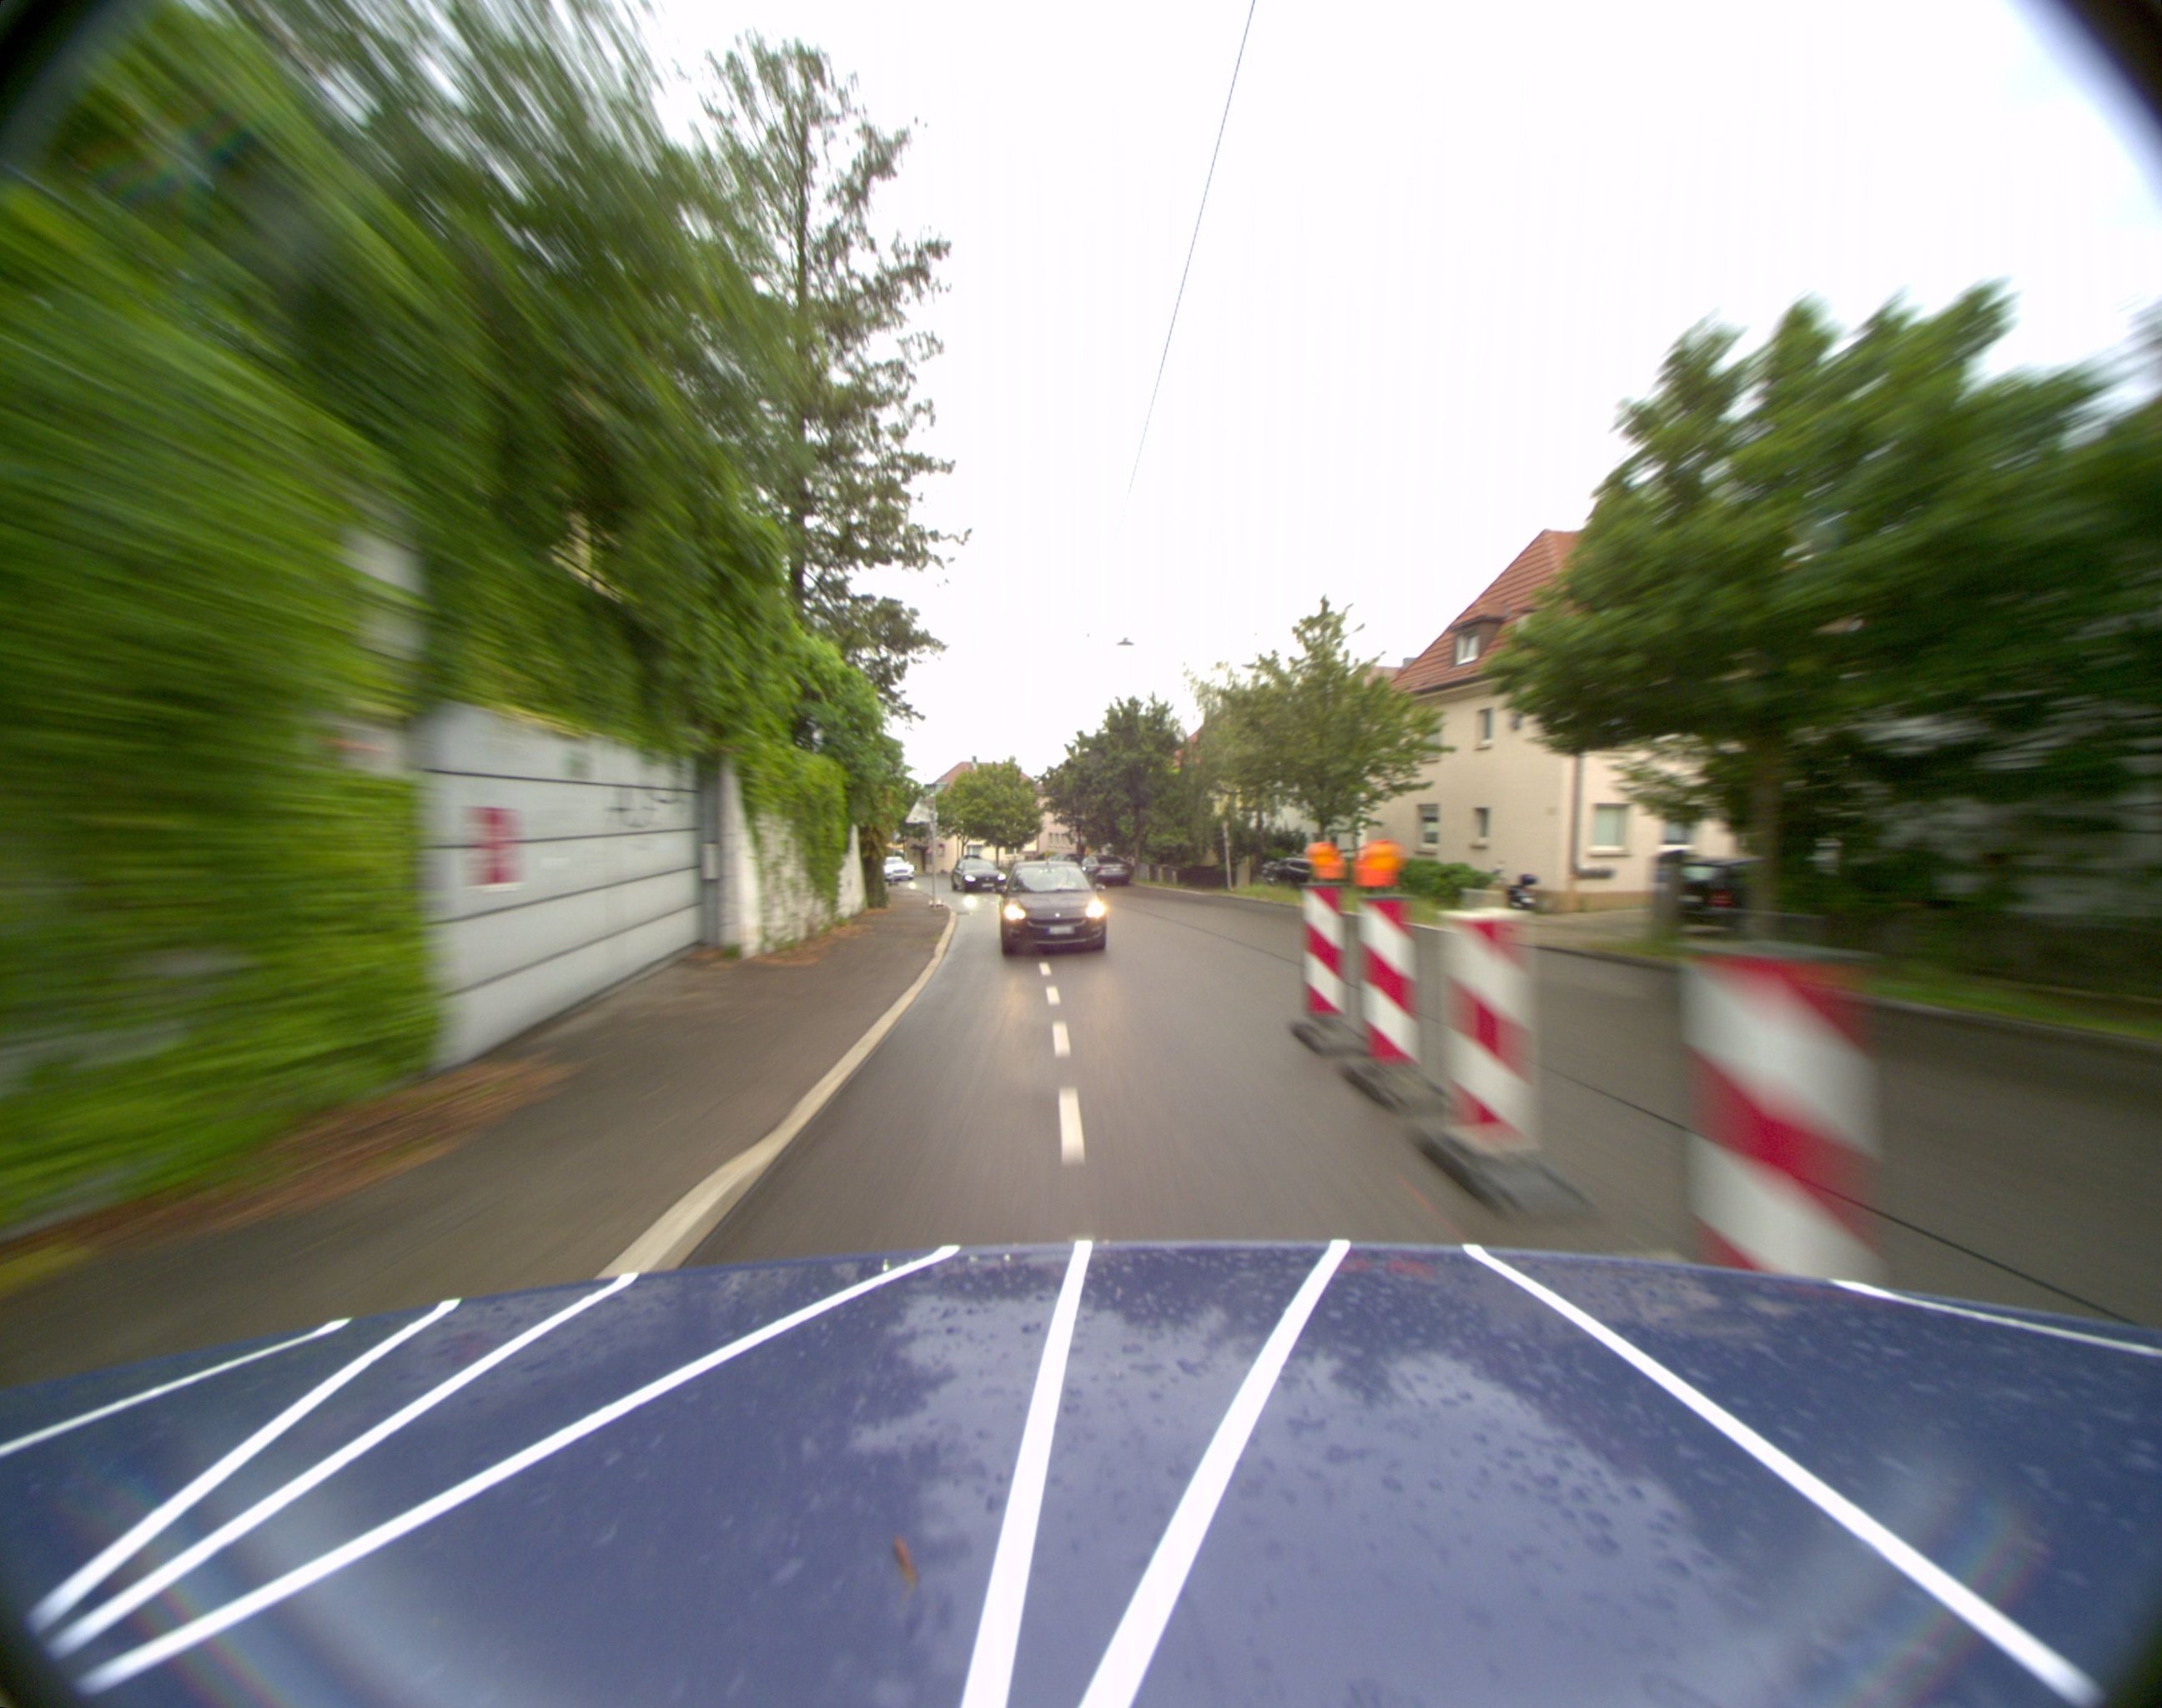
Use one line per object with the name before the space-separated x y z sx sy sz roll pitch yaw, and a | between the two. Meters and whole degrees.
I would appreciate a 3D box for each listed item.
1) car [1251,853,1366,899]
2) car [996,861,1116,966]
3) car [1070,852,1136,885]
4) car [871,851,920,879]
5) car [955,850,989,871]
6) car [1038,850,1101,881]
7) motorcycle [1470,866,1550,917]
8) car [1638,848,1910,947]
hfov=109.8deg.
car | 9.847 0.929 32.994 4.253 1.496 1.912 6 0 -8
car | -0.602 0.907 13.532 1.747 1.434 4.356 -2 0 -6
car | 0.961 0.629 35.873 1.713 1.375 4.522 -3 2 -17
car | -12.841 0.730 52.440 2.022 1.728 4.588 -2 1 -30
car | -8.143 0.502 56.800 1.525 1.526 3.029 -1 0 -30
car | -0.688 0.563 40.618 1.740 1.475 4.521 -3 2 -23
motorcycle | 11.588 0.981 20.613 0.734 1.241 1.967 -2 1 -13
car | 13.671 0.790 15.115 3.952 1.534 1.862 -4 1 -8
